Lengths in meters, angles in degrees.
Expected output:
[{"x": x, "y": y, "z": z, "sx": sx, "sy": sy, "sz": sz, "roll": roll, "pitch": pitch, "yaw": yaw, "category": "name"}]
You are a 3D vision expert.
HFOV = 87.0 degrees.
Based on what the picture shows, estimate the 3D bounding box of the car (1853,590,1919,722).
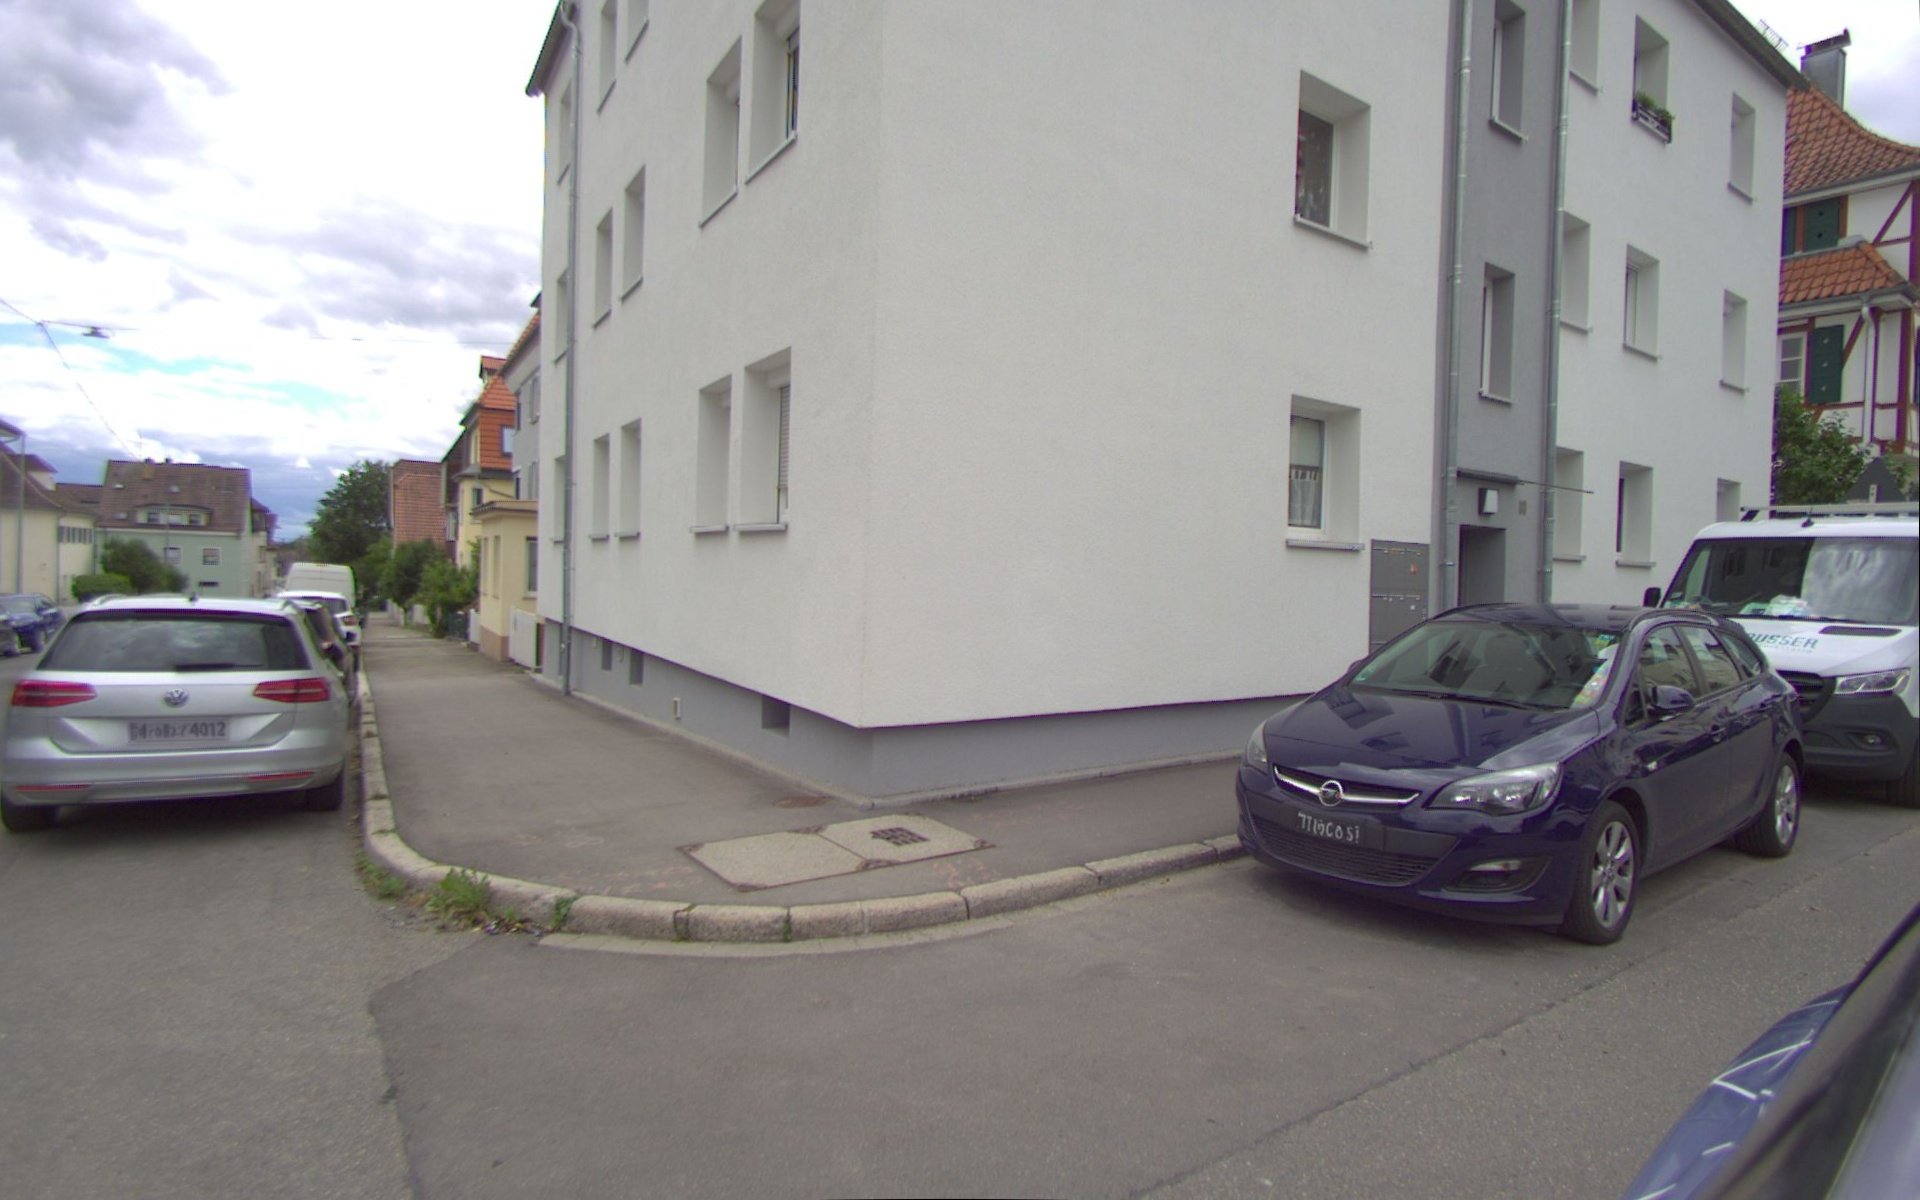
[{"x": 12.968, "y": 0.626, "z": 12.587, "sx": 4.300, "sy": 1.463, "sz": 1.831, "roll": -2, "pitch": 2, "yaw": -35, "category": "car"}]

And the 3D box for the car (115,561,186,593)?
[{"x": -57.947, "y": -1.628, "z": 72.475, "sx": 3.929, "sy": 2.038, "sz": 1.804, "roll": 1, "pitch": 4, "yaw": -40, "category": "car"}]

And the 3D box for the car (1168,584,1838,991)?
[{"x": 3.309, "y": 0.693, "z": 5.823, "sx": 4.207, "sy": 1.504, "sz": 1.823, "roll": 0, "pitch": 1, "yaw": -38, "category": "car"}]

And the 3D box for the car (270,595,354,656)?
[{"x": -17.001, "y": 0.639, "z": 26.693, "sx": 1.703, "sy": 1.472, "sz": 4.003, "roll": 1, "pitch": -1, "yaw": -31, "category": "car"}]

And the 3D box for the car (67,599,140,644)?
[{"x": -32.148, "y": 0.781, "z": 38.084, "sx": 1.588, "sy": 1.580, "sz": 3.976, "roll": 0, "pitch": -1, "yaw": -33, "category": "car"}]

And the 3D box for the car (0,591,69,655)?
[{"x": -25.498, "y": 0.587, "z": 27.263, "sx": 1.589, "sy": 1.579, "sz": 3.976, "roll": -4, "pitch": 3, "yaw": -33, "category": "car"}]

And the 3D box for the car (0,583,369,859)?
[{"x": -5.658, "y": 0.642, "z": 7.672, "sx": 1.730, "sy": 1.468, "sz": 4.360, "roll": 2, "pitch": 0, "yaw": -34, "category": "car"}]

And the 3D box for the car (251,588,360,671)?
[{"x": -14.129, "y": 0.595, "z": 21.931, "sx": 1.831, "sy": 1.627, "sz": 4.001, "roll": 0, "pitch": -1, "yaw": -32, "category": "car"}]

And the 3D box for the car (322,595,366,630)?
[{"x": -28.909, "y": 0.576, "z": 47.475, "sx": 1.694, "sy": 1.607, "sz": 3.889, "roll": 0, "pitch": -1, "yaw": -32, "category": "car"}]

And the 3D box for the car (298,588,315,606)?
[{"x": -88.066, "y": -0.394, "z": 136.359, "sx": 1.805, "sy": 2.347, "sz": 3.887, "roll": 0, "pitch": 0, "yaw": -35, "category": "car"}]

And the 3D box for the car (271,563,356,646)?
[{"x": -20.752, "y": 0.151, "z": 32.696, "sx": 2.073, "sy": 2.445, "sz": 5.898, "roll": 1, "pitch": -1, "yaw": -31, "category": "car"}]

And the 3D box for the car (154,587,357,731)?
[{"x": -8.345, "y": 0.608, "z": 12.308, "sx": 1.703, "sy": 1.440, "sz": 4.003, "roll": 1, "pitch": -1, "yaw": -31, "category": "car"}]

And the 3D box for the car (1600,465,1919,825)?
[{"x": 8.108, "y": 0.216, "z": 9.188, "sx": 5.193, "sy": 2.452, "sz": 2.001, "roll": -1, "pitch": 3, "yaw": -35, "category": "car"}]

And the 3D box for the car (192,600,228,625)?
[{"x": -48.307, "y": 0.792, "z": 65.246, "sx": 1.588, "sy": 1.580, "sz": 3.742, "roll": 0, "pitch": -1, "yaw": -33, "category": "car"}]

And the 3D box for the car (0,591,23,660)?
[{"x": -22.264, "y": 0.631, "z": 22.219, "sx": 1.735, "sy": 1.531, "sz": 3.976, "roll": -4, "pitch": 3, "yaw": -33, "category": "car"}]
